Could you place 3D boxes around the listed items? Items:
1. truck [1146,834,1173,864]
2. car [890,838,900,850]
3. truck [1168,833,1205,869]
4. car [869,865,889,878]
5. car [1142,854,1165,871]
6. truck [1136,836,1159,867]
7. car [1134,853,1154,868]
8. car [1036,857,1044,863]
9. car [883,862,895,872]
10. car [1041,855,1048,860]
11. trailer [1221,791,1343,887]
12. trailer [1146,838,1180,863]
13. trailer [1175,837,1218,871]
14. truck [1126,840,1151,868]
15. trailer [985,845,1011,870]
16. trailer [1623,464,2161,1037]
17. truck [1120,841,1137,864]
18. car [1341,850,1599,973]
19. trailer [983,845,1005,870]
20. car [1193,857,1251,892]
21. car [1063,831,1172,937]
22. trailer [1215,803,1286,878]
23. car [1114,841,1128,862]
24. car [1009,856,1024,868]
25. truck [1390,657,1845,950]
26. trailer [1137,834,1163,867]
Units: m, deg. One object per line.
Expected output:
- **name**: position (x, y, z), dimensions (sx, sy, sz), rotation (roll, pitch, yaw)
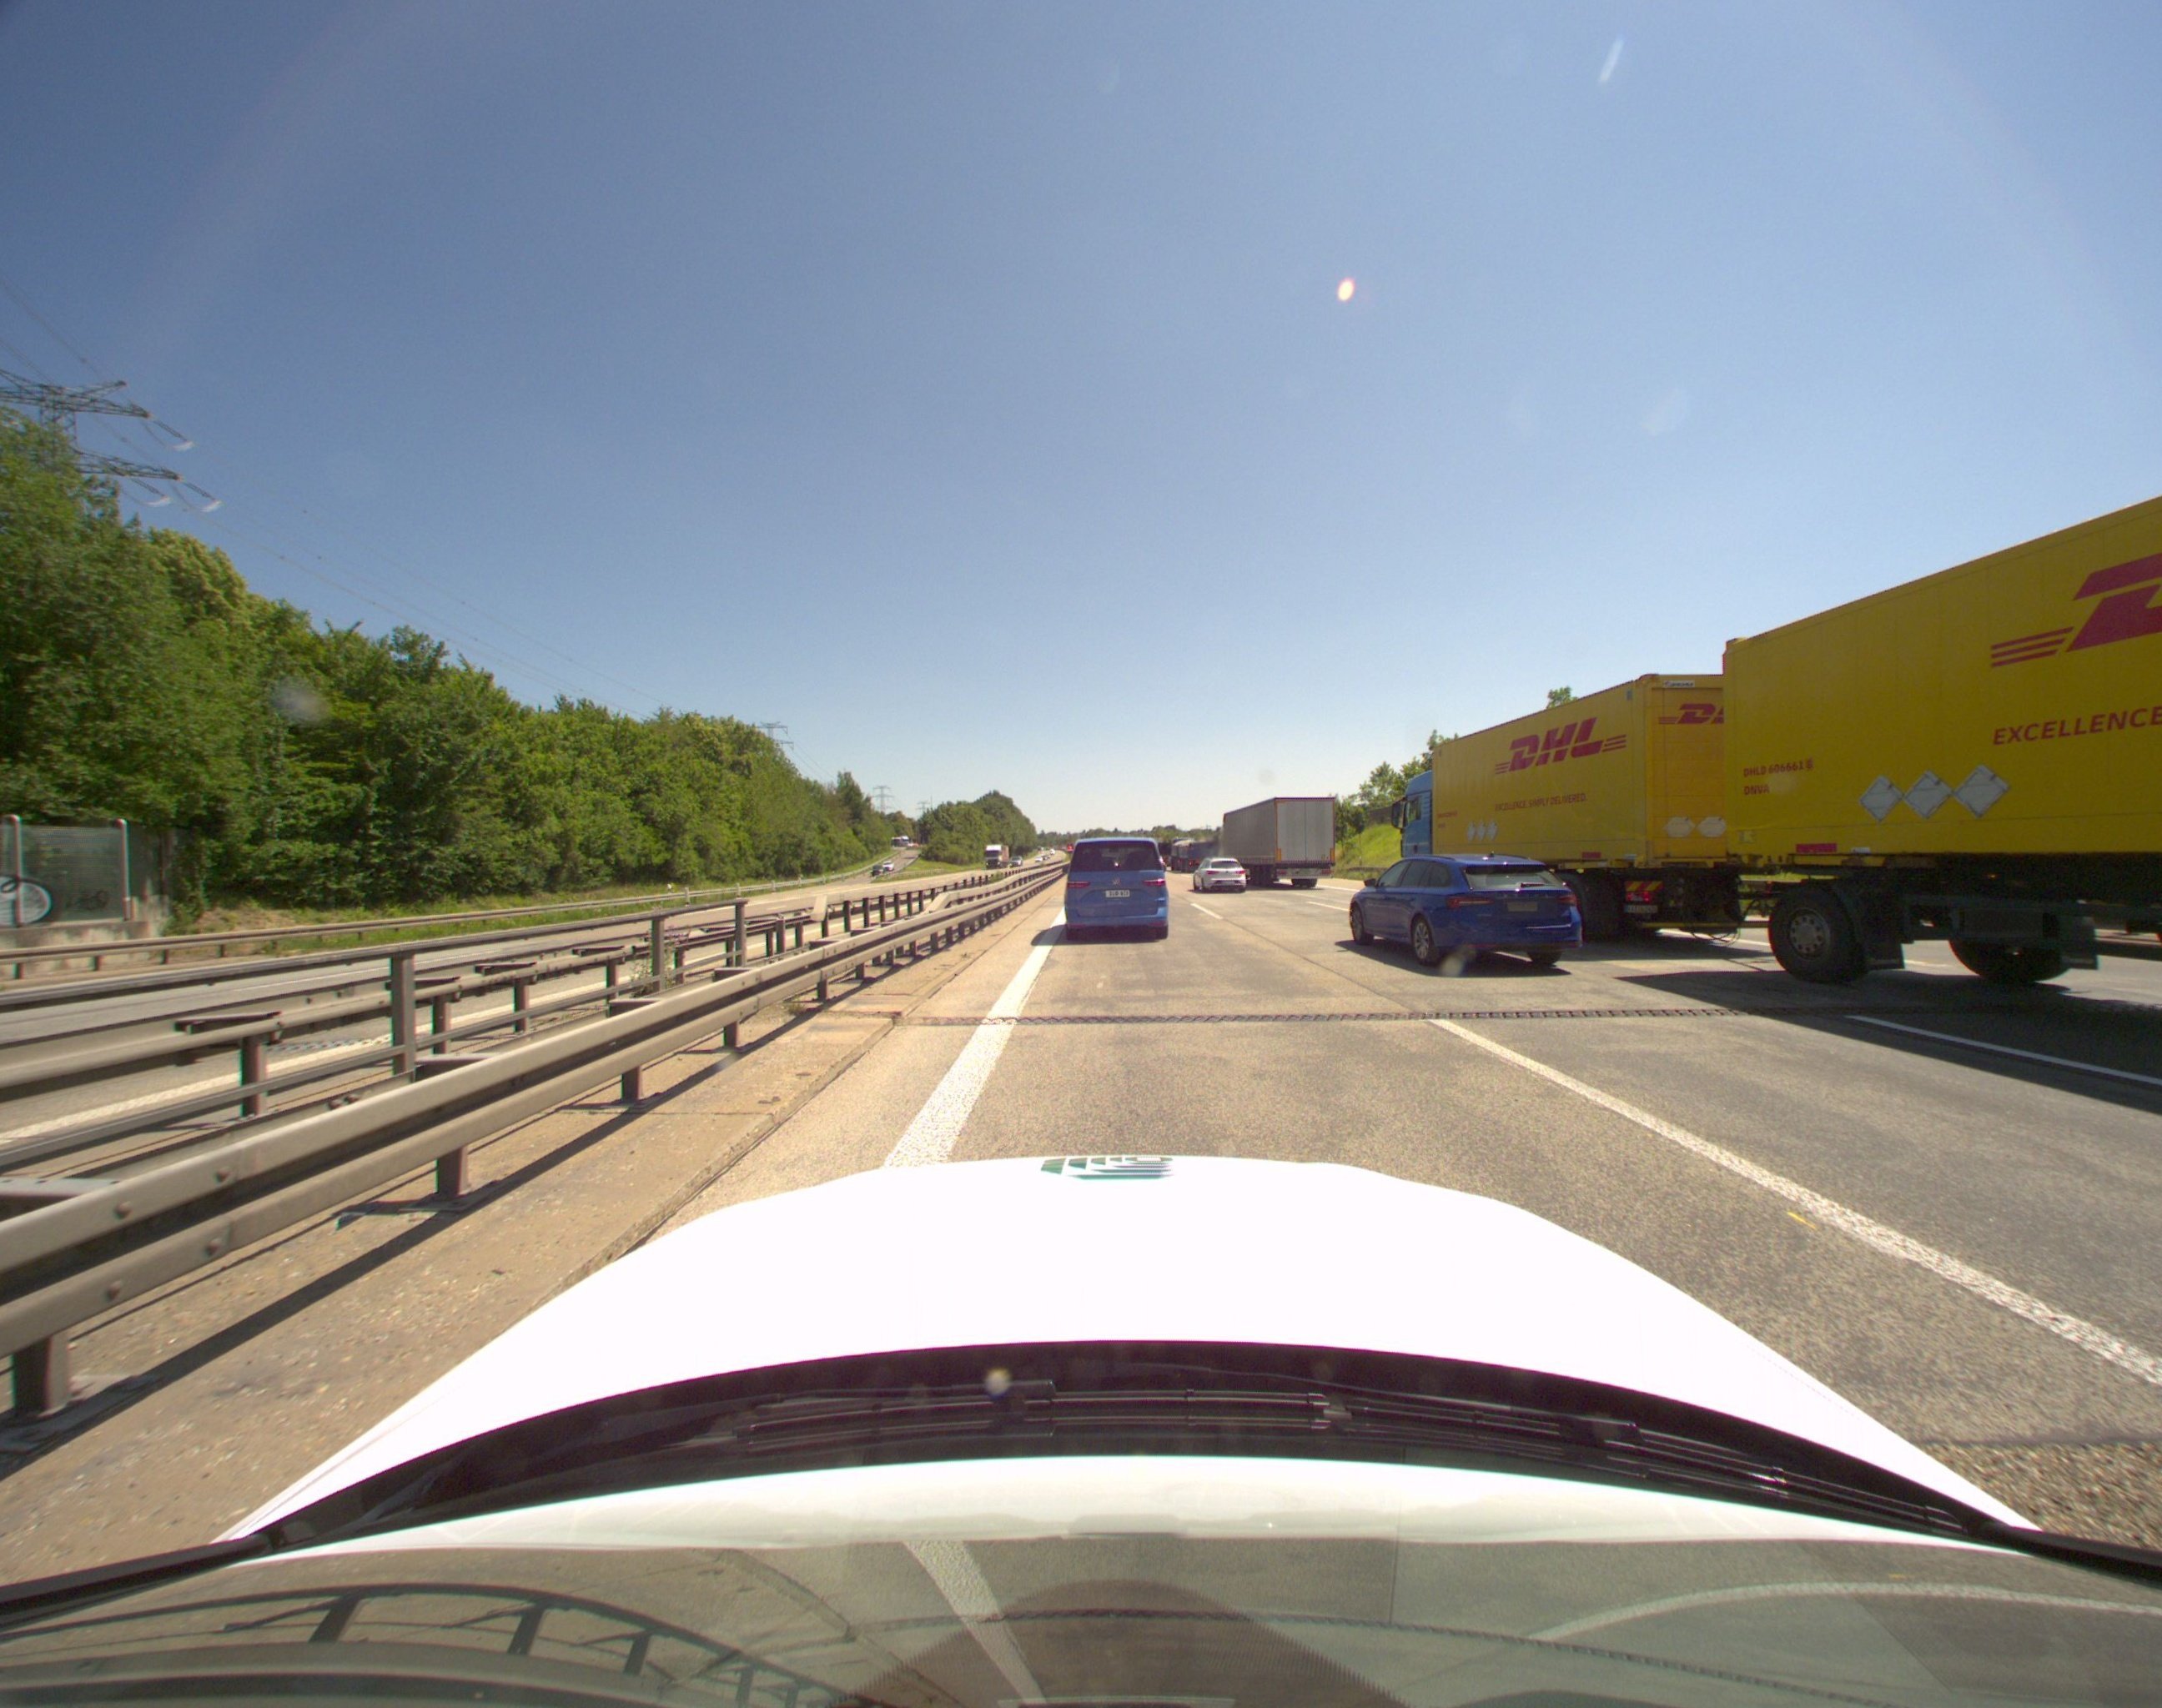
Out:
- **truck**: position (11.245, -0.620, 117.738), dimensions (3.611, 4.095, 7.529), rotation (0, -1, 3)
- **car**: position (-50.556, -2.670, 221.527), dimensions (2.075, 2.880, 6.691), rotation (-2, -1, -18)
- **truck**: position (10.253, -0.294, 79.807), dimensions (2.734, 3.311, 7.133), rotation (0, 0, 1)
- **car**: position (-28.150, 2.471, 113.404), dimensions (1.991, 1.576, 5.264), rotation (0, 1, -6)
- **car**: position (6.373, 0.788, 72.104), dimensions (1.833, 1.454, 4.002), rotation (0, -1, 2)
- **truck**: position (11.365, -0.304, 139.602), dimensions (3.644, 5.180, 5.712), rotation (0, -1, 2)
- **car**: position (6.390, 0.695, 83.032), dimensions (1.775, 1.524, 3.999), rotation (0, -1, 0)
- **car**: position (-10.612, 1.589, 209.016), dimensions (1.845, 1.467, 4.303), rotation (-2, -1, -1)
- **car**: position (-30.895, 2.105, 131.319), dimensions (1.686, 1.456, 4.329), rotation (0, -1, -11)
- **car**: position (-10.883, 1.115, 243.129), dimensions (1.870, 1.446, 4.144), rotation (-3, -1, 0)
- **trailer**: position (9.727, -0.588, 41.476), dimensions (2.952, 4.049, 13.753), rotation (-1, 0, 1)
- **trailer**: position (10.861, -0.354, 109.664), dimensions (3.632, 3.079, 15.781), rotation (0, -1, 3)
- **trailer**: position (10.145, -0.012, 72.422), dimensions (2.734, 2.836, 9.117), rotation (0, 0, 1)
- **truck**: position (10.869, 0.125, 156.181), dimensions (3.610, 5.213, 15.681), rotation (0, -1, -1)
- **trailer**: position (-14.537, 0.595, 144.006), dimensions (2.754, 3.976, 14.682), rotation (-3, 0, 1)
- **trailer**: position (9.184, -0.740, 7.199), dimensions (2.755, 4.117, 9.380), rotation (0, 0, 2)
- **truck**: position (10.390, -0.267, 178.849), dimensions (3.058, 4.920, 10.689), rotation (0, -1, 0)
- **car**: position (5.284, 0.714, 11.801), dimensions (1.700, 1.441, 4.428), rotation (0, -1, 1)
- **trailer**: position (-14.637, 0.597, 137.664), dimensions (2.747, 3.976, 6.132), rotation (-3, 0, 1)
- **car**: position (5.816, 0.816, 34.078), dimensions (1.860, 1.361, 4.002), rotation (0, 0, 2)
- **car**: position (0.707, 0.556, 16.217), dimensions (1.894, 1.838, 4.001), rotation (0, -1, 2)
- **trailer**: position (9.826, -0.745, 47.923), dimensions (2.914, 4.044, 6.411), rotation (-1, 0, 1)
- **car**: position (10.365, -0.619, 211.368), dimensions (3.207, 5.257, 8.144), rotation (0, -1, 1)
- **car**: position (-10.491, 1.321, 133.184), dimensions (1.986, 1.941, 4.898), rotation (0, -1, 1)
- **truck**: position (9.414, -0.674, 16.412), dimensions (2.755, 4.109, 9.954), rotation (0, 0, 1)
- **trailer**: position (11.147, -0.431, 133.444), dimensions (3.632, 5.136, 13.081), rotation (0, -1, 2)
